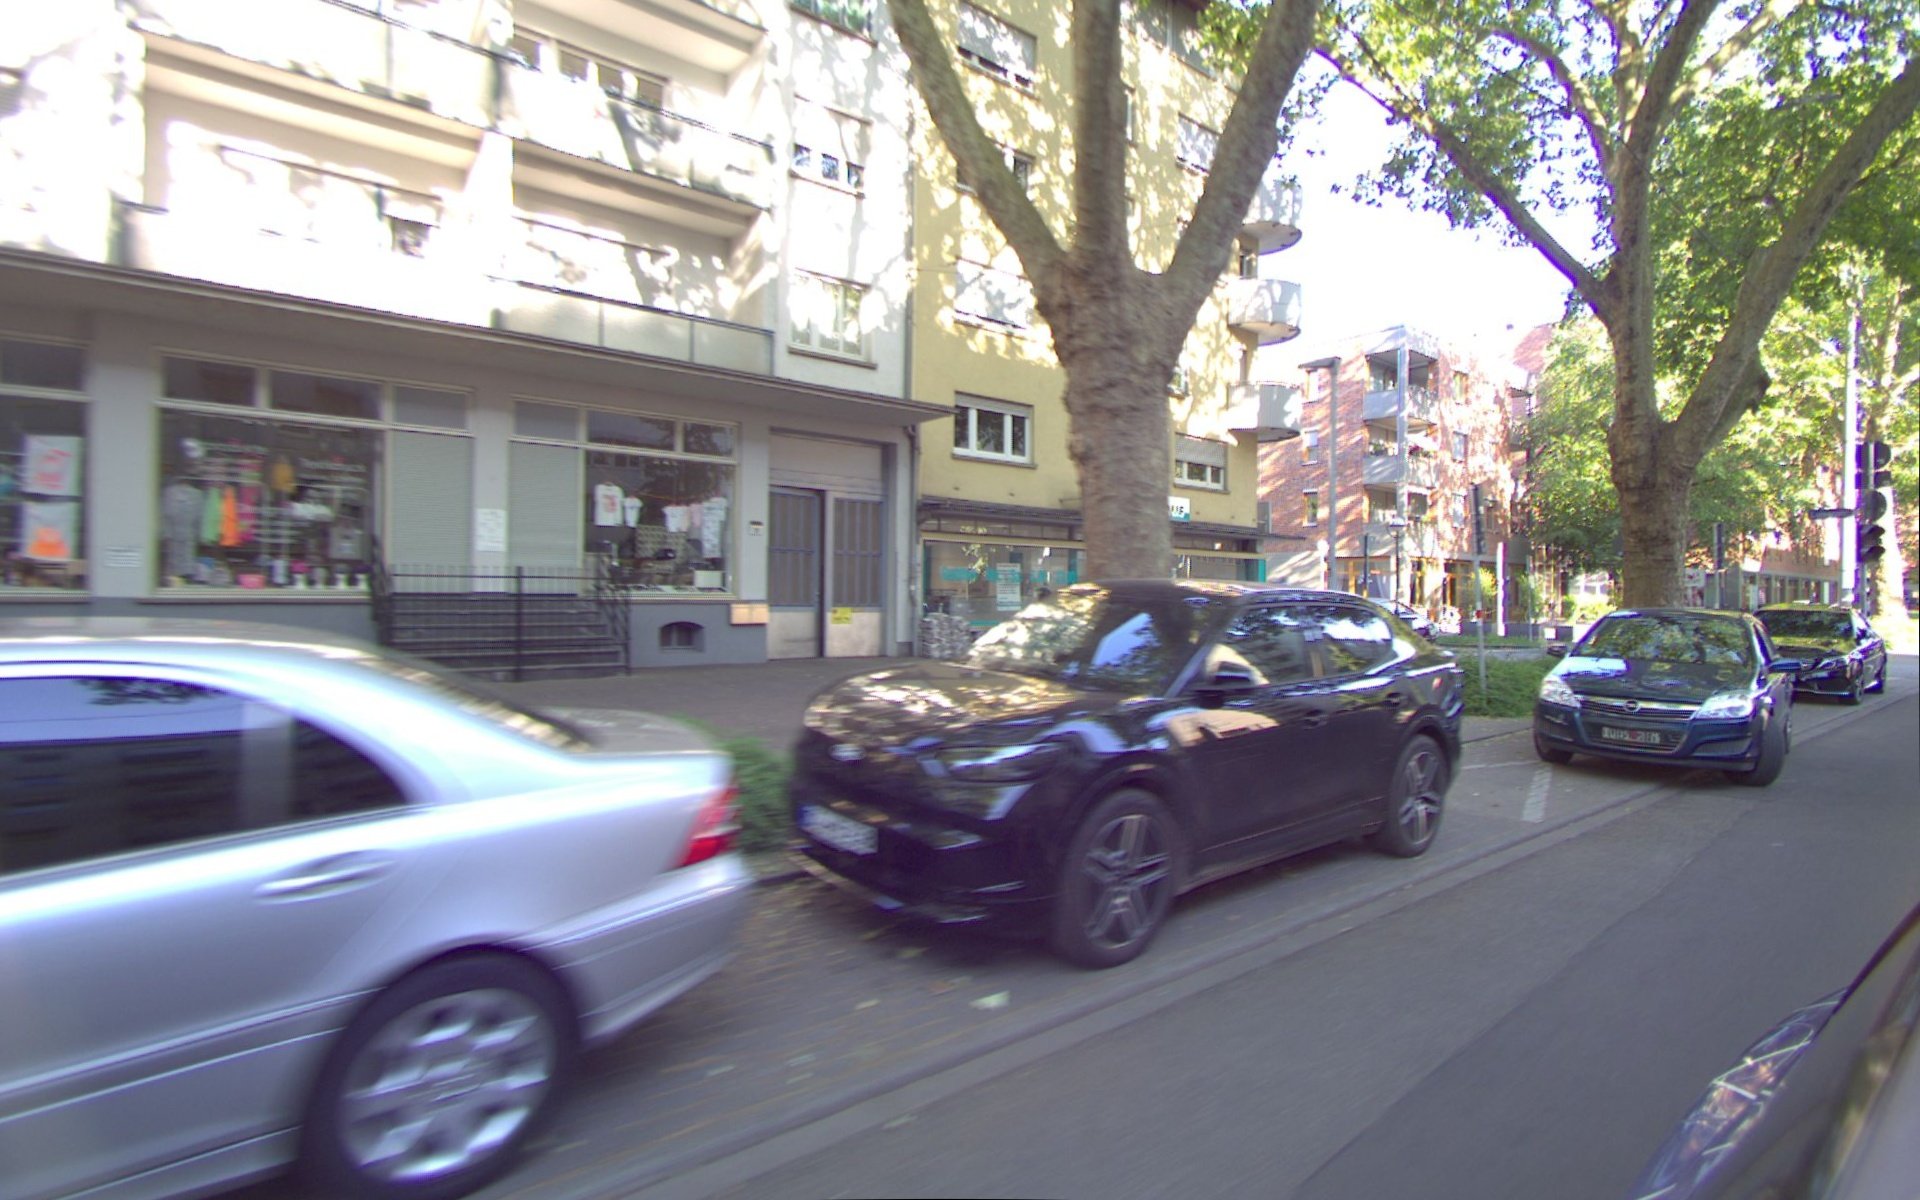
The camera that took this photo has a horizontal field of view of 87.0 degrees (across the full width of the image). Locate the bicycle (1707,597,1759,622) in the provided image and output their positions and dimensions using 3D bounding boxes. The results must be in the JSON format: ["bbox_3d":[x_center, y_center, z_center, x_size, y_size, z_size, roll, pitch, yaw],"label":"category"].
[{"bbox_3d":[39.643,0.495,51.920,0.562,1.171,2.036,0,2,-39],"label":"bicycle"}]

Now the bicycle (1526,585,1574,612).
[{"bbox_3d":[27.403,-0.091,47.047,0.560,1.171,1.939,1,2,-24],"label":"bicycle"}]

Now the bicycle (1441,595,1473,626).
[{"bbox_3d":[19.830,0.411,40.389,1.670,1.171,0.600,0,2,-45],"label":"bicycle"}]

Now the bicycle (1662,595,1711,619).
[{"bbox_3d":[38.863,0.380,54.140,0.561,1.171,2.039,0,2,-34],"label":"bicycle"}]

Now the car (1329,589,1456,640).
[{"bbox_3d":[15.717,0.473,36.913,1.833,1.714,3.870,0,1,-40],"label":"car"}]

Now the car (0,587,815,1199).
[{"bbox_3d":[-2.715,0.737,2.305,4.527,1.453,1.819,-1,3,-44],"label":"car"}]

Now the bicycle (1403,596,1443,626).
[{"bbox_3d":[18.866,0.419,41.208,1.945,1.171,0.638,0,2,-38],"label":"bicycle"}]

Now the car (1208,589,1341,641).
[{"bbox_3d":[10.541,0.475,34.113,1.832,1.572,3.870,4,-1,-40],"label":"car"}]

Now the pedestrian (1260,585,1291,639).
[{"bbox_3d":[9.207,0.349,29.543,0.677,1.558,0.703,1,0,1],"label":"pedestrian"}]

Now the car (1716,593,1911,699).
[{"bbox_3d":[14.020,0.637,16.509,4.926,1.481,1.767,0,1,-42],"label":"car"}]

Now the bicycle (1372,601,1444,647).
[{"bbox_3d":[12.654,0.667,28.599,1.781,1.171,0.738,2,2,29],"label":"bicycle"}]

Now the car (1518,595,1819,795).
[{"bbox_3d":[6.968,0.703,9.764,1.864,1.455,4.162,2,2,42],"label":"car"}]

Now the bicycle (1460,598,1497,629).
[{"bbox_3d":[20.054,0.516,39.137,1.666,1.171,0.602,0,2,-37],"label":"bicycle"}]

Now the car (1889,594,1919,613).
[{"bbox_3d":[78.222,0.280,83.652,3.891,1.527,1.657,0,1,-40],"label":"car"}]

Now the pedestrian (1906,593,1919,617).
[{"bbox_3d":[68.443,0.350,72.649,0.736,1.712,0.710,0,0,-41],"label":"pedestrian"}]

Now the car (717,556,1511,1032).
[{"bbox_3d":[1.200,0.595,5.708,4.700,1.623,1.861,-1,2,-42],"label":"car"}]

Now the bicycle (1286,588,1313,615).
[{"bbox_3d":[15.356,0.052,45.783,0.562,1.171,1.674,2,2,39],"label":"bicycle"}]
